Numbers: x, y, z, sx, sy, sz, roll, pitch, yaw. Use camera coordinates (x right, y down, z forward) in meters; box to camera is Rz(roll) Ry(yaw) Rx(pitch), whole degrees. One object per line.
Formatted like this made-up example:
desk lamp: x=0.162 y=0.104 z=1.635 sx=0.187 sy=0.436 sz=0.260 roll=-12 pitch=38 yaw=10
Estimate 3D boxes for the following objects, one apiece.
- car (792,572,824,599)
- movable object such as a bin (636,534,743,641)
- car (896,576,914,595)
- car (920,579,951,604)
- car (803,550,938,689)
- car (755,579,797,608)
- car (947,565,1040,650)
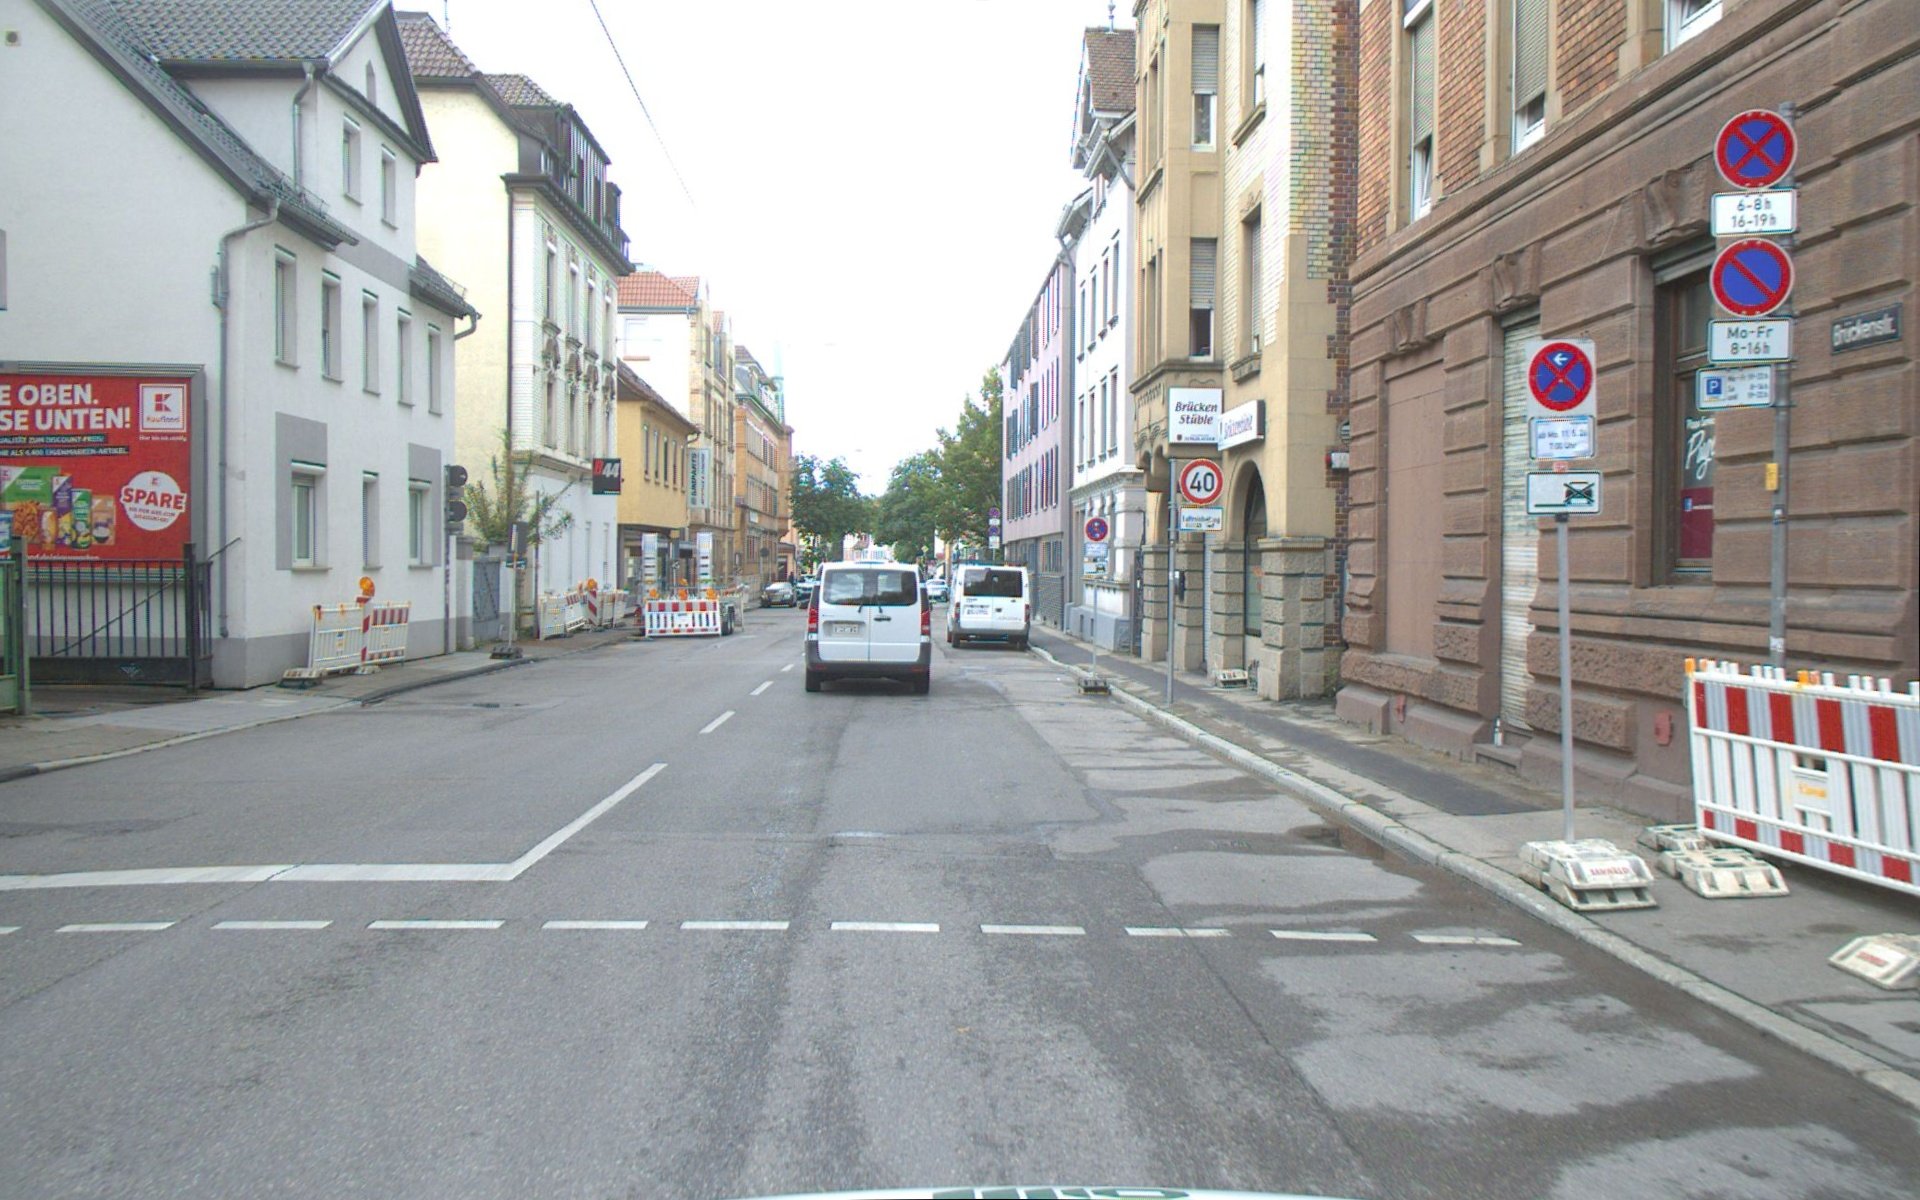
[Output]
car: x=-10.392 y=-1.010 z=113.325 sx=1.954 sy=1.771 sz=3.998 roll=3 pitch=1 yaw=-3
movable object such as a bin: x=-7.753 y=-0.381 z=47.869 sx=2.487 sy=2.874 sz=4.536 roll=-2 pitch=1 yaw=-3
car: x=-6.119 y=-1.595 z=184.640 sx=1.953 sy=2.049 sz=3.999 roll=0 pitch=0 yaw=-1
car: x=-1.685 y=-0.591 z=113.447 sx=1.954 sy=1.511 sz=3.998 roll=3 pitch=1 yaw=-3
car: x=-1.482 y=0.284 z=25.728 sx=1.855 sy=1.962 sz=4.639 roll=0 pitch=0 yaw=-6
car: x=-9.794 y=-0.348 z=88.351 sx=1.954 sy=1.467 sz=3.998 roll=-1 pitch=1 yaw=-3
car: x=0.809 y=0.157 z=42.845 sx=2.086 sy=2.040 sz=4.924 roll=1 pitch=1 yaw=-2
